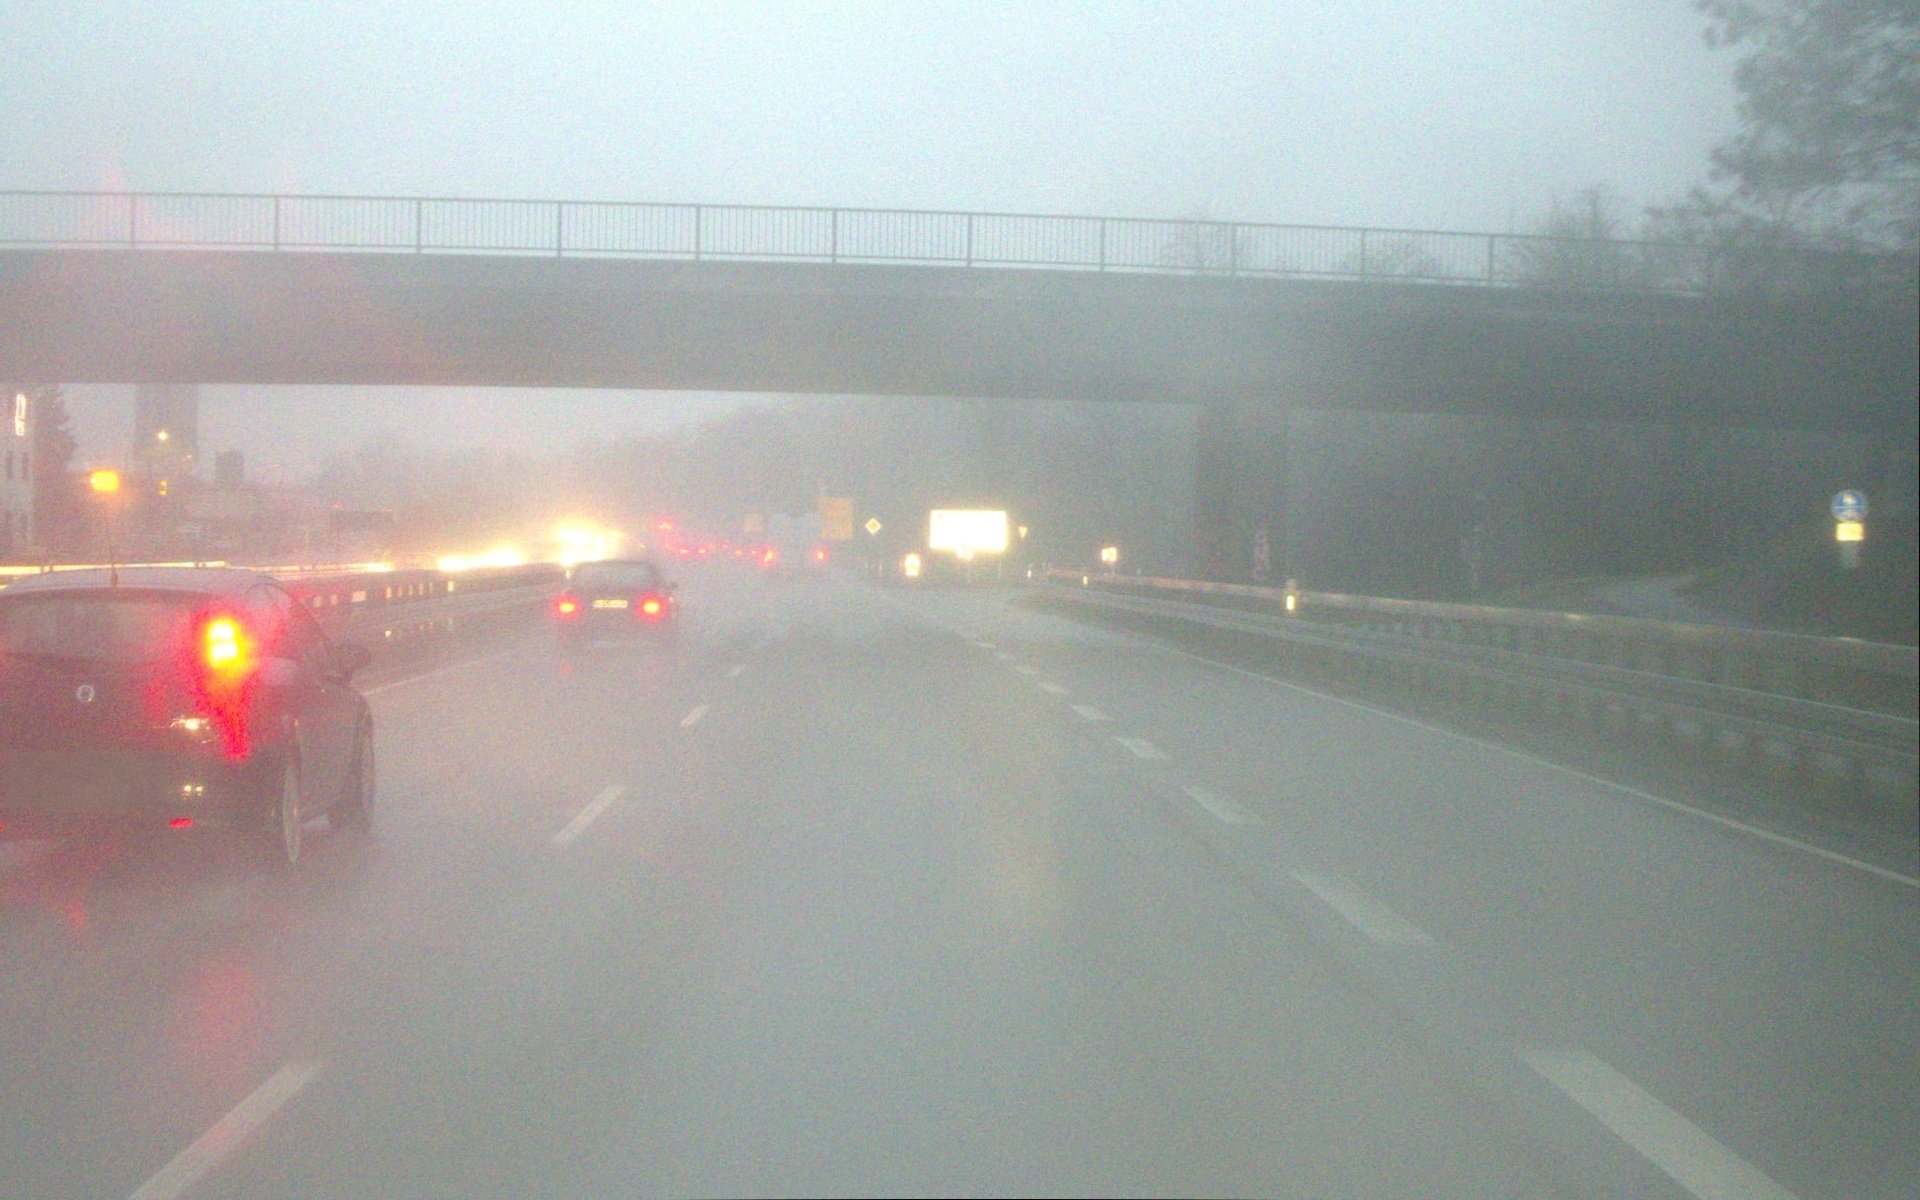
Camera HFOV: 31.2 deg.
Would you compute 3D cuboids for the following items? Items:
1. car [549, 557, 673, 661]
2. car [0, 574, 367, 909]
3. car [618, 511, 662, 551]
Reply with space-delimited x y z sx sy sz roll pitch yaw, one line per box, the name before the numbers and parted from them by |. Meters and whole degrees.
car | -5.376 0.107 53.451 1.775 1.529 4.703 1 1 -4
car | -4.029 0.640 17.534 1.527 1.411 3.479 3 1 -3
car | -18.252 -3.941 195.859 2.122 2.113 3.576 3 1 -10
